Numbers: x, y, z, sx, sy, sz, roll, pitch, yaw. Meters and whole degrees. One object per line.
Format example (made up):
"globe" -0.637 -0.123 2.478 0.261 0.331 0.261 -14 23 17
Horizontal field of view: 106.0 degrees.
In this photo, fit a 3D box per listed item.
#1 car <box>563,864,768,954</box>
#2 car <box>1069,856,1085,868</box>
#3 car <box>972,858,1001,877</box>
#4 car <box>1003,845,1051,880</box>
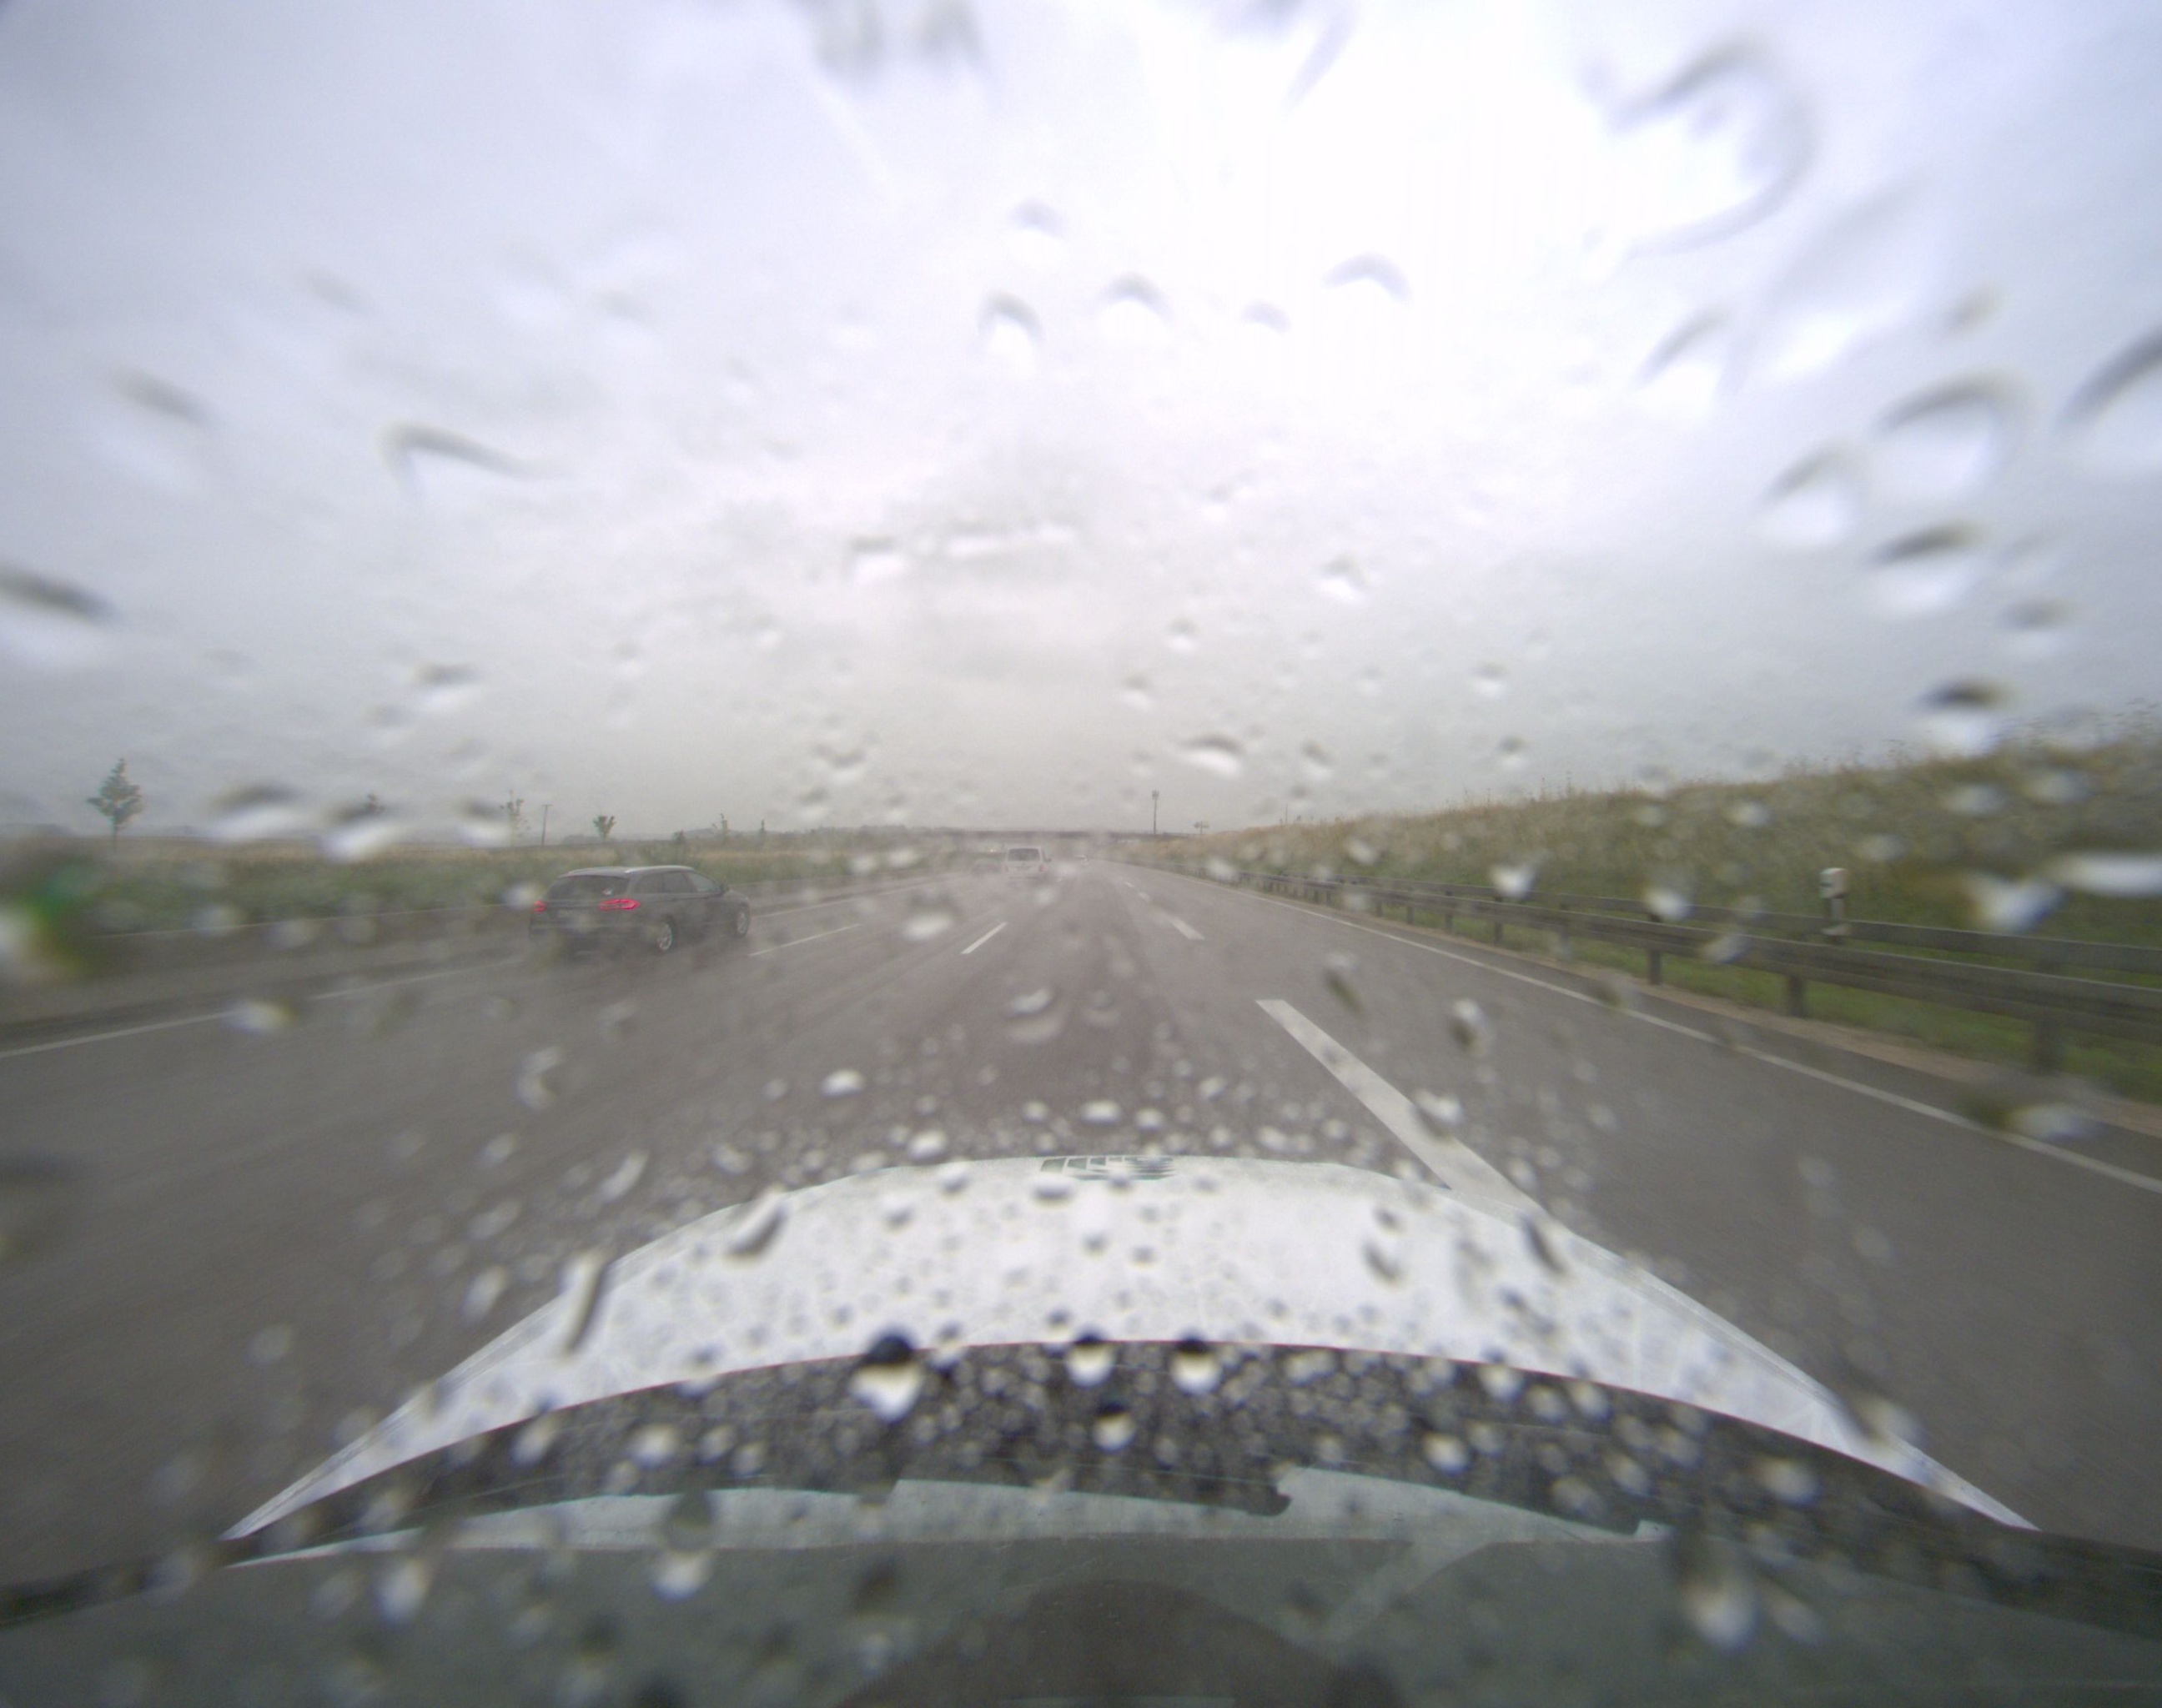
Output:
"car" -7.390 0.901 14.975 1.606 1.354 4.002 -1 0 2
"car" -0.369 0.793 81.947 1.462 1.208 2.992 -1 0 1
"car" -6.400 0.882 55.386 1.462 1.257 3.342 -1 0 3
"car" -2.537 0.412 38.967 1.890 1.585 4.001 0 0 2
